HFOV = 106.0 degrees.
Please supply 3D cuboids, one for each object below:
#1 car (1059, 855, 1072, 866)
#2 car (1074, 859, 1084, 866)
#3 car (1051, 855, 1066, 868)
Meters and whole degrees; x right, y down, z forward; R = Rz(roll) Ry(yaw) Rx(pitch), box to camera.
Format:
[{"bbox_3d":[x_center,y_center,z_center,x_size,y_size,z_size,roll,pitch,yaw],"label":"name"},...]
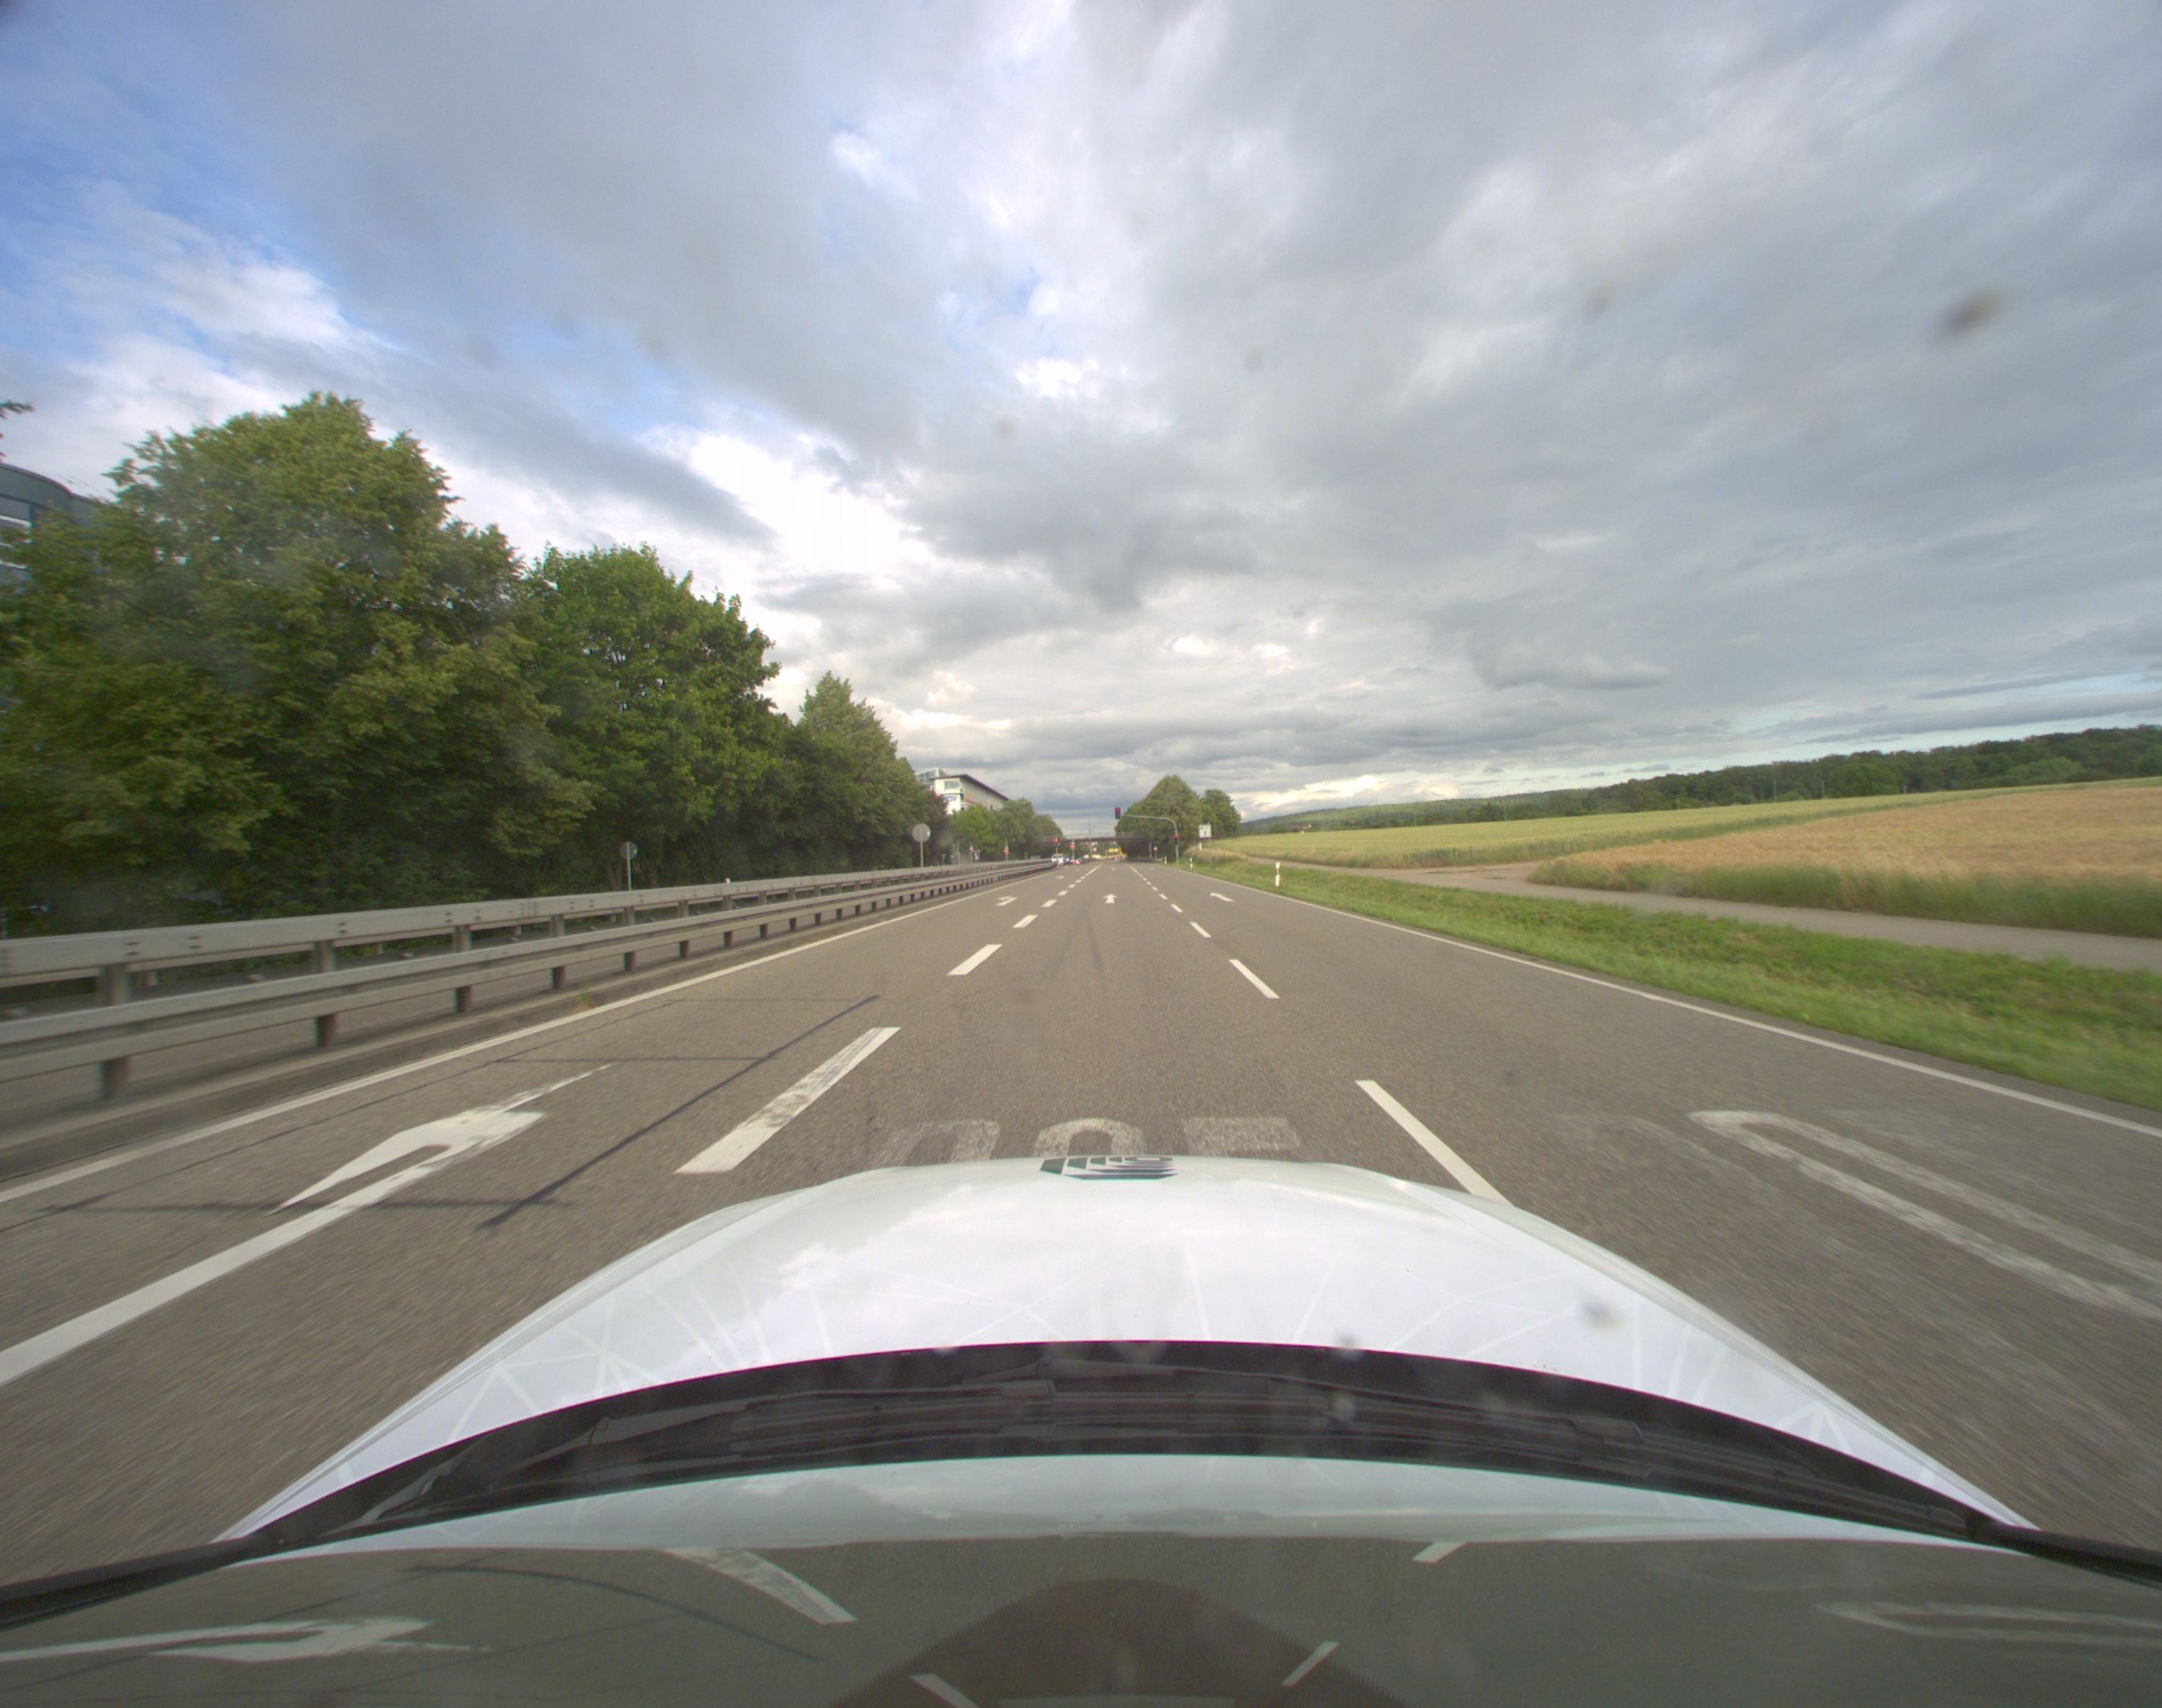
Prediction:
[{"bbox_3d":[-2.683,1.076,141.235,1.986,1.873,4.739,-2,0,2],"label":"car"},{"bbox_3d":[-0.329,1.305,126.412,1.352,1.092,2.924,-2,0,3],"label":"car"},{"bbox_3d":[-3.501,1.166,128.514,1.940,1.873,4.739,-2,0,2],"label":"car"}]
